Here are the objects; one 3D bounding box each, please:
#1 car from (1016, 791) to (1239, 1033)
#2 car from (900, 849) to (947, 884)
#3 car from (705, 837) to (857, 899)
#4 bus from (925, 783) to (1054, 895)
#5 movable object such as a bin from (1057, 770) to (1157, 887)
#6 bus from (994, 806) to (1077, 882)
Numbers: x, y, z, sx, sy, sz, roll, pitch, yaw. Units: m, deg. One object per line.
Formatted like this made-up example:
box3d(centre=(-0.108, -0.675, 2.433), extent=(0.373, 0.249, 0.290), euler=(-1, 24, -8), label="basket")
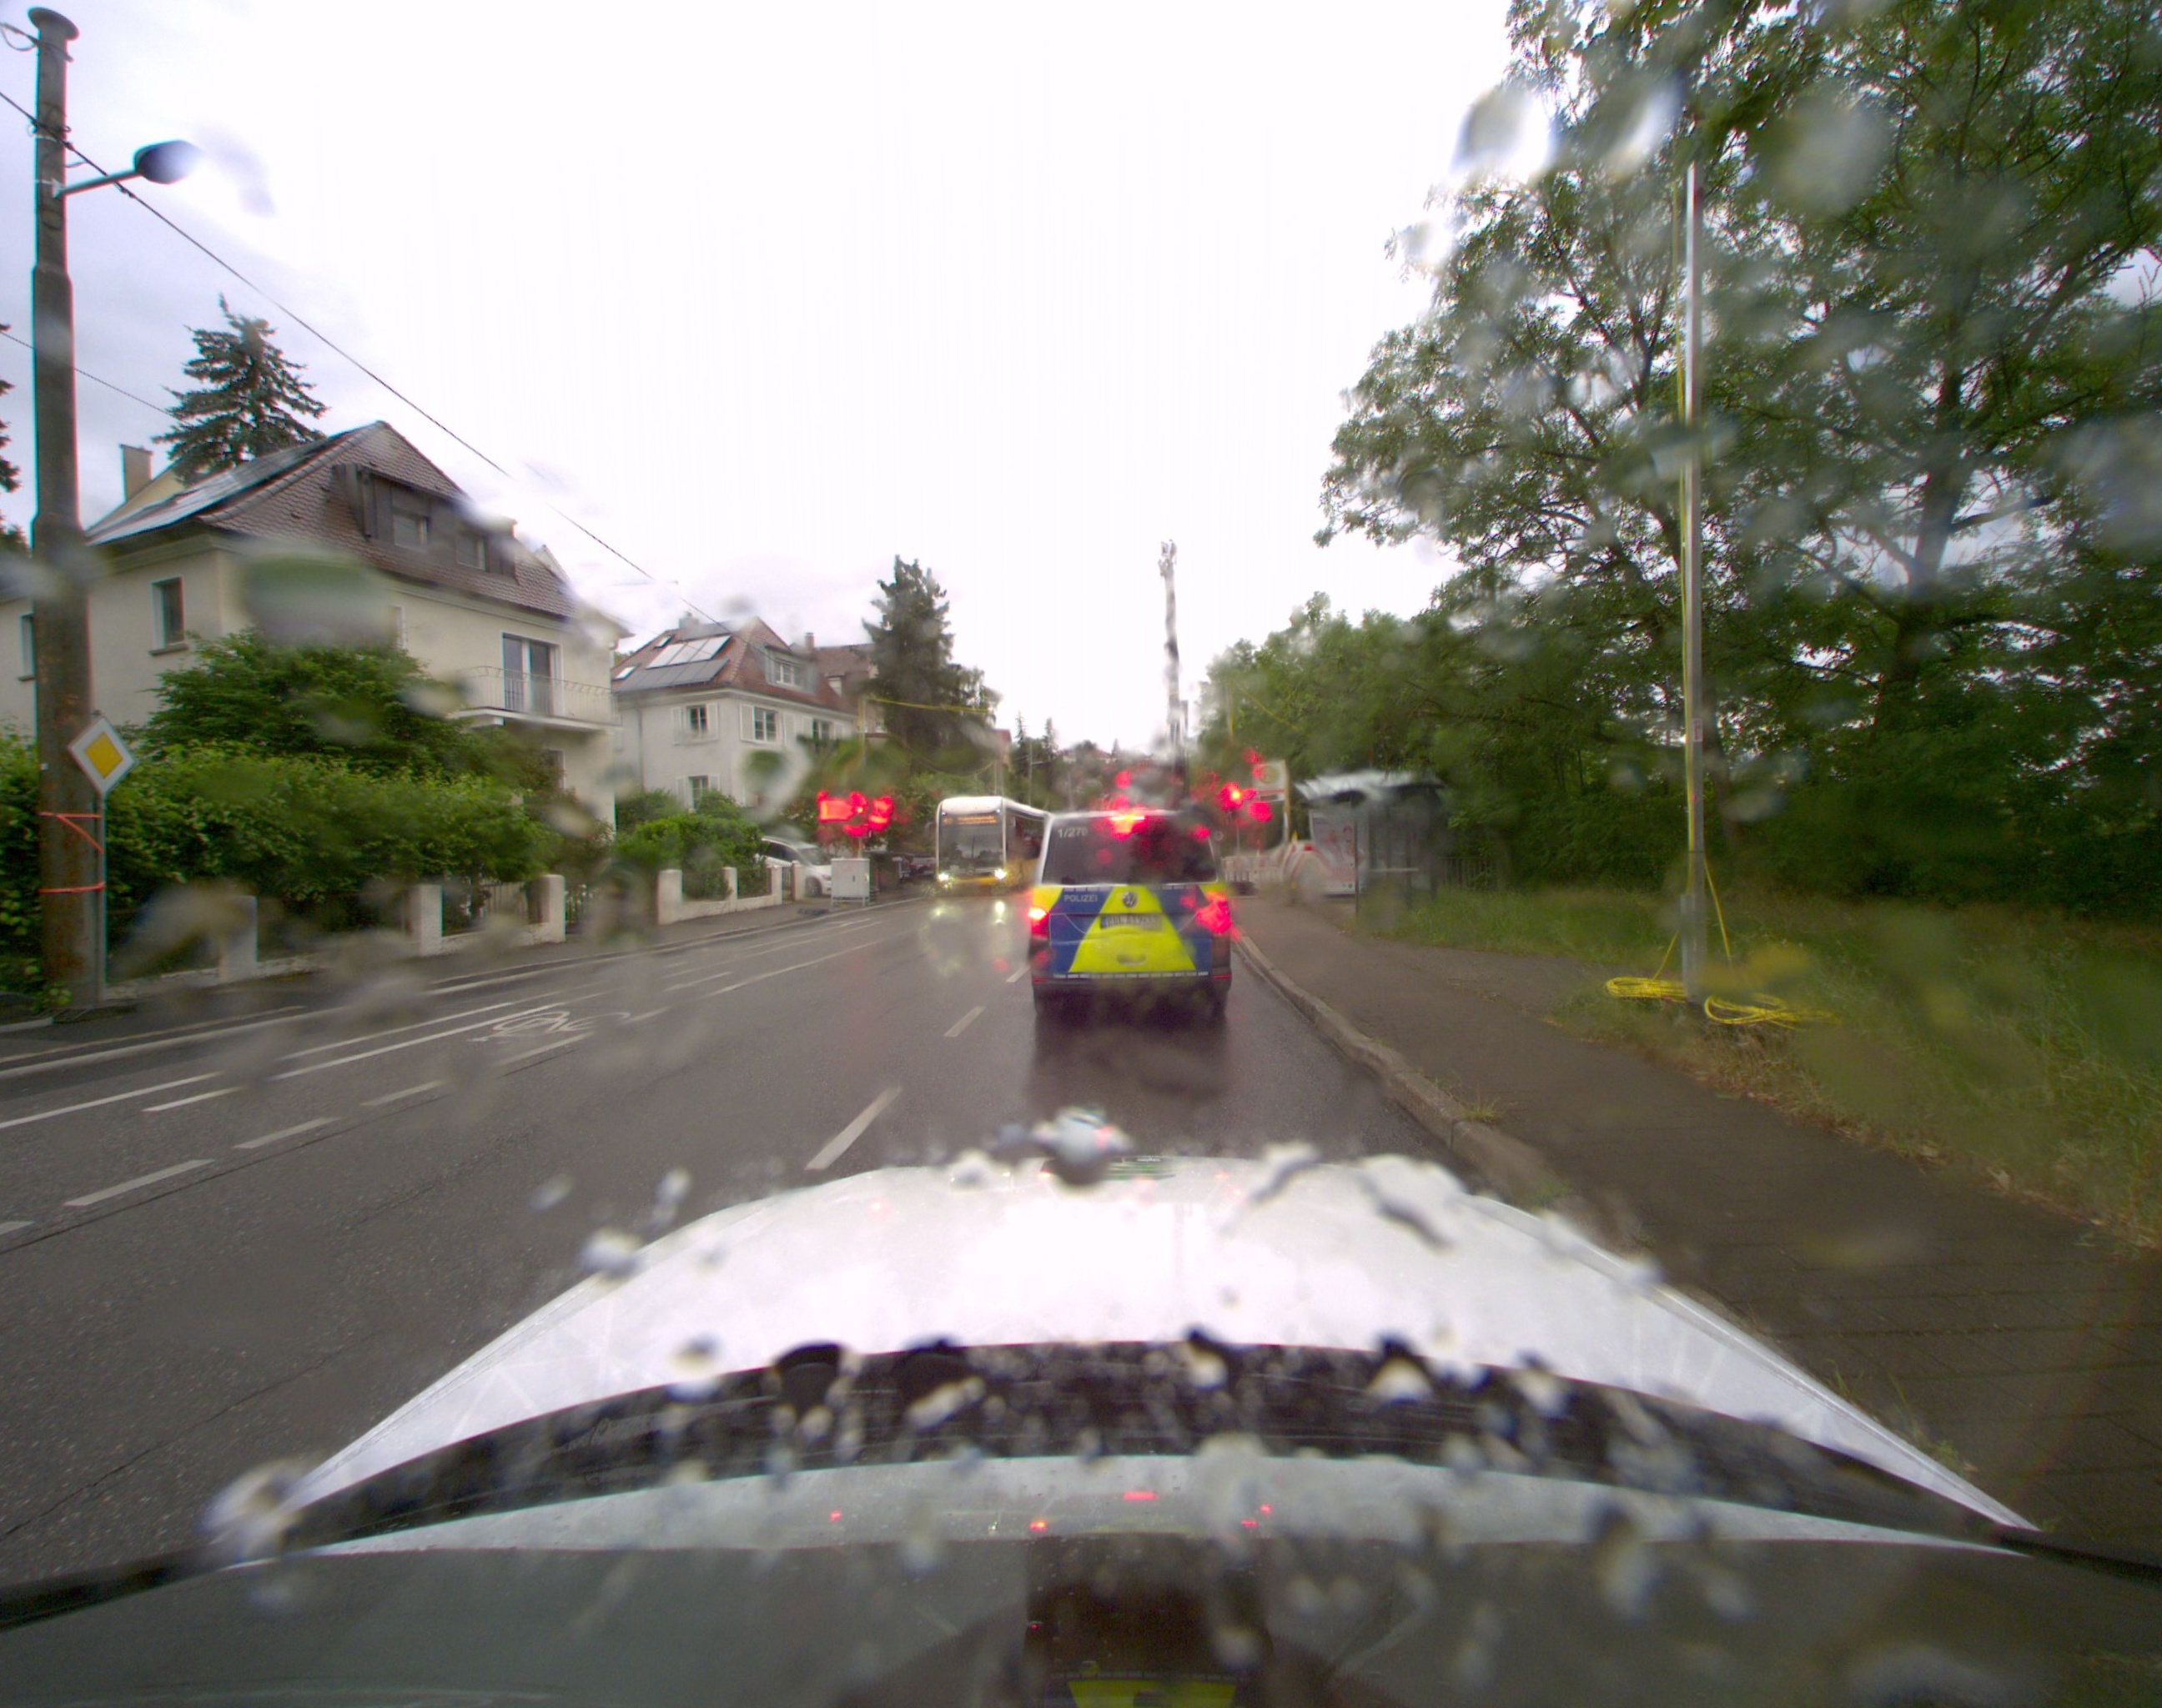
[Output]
box3d(centre=(0.456, 0.488, 8.934), extent=(1.886, 2.050, 4.002), euler=(0, 0, 2), label="car")
box3d(centre=(-7.459, 0.562, 38.292), extent=(1.770, 1.486, 3.720), euler=(0, 1, -17), label="car")
box3d(centre=(-10.285, 0.462, 28.049), extent=(4.599, 2.007, 1.907), euler=(0, 0, 13), label="car")
box3d(centre=(-3.266, -0.509, 33.133), extent=(2.827, 3.718, 12.022), euler=(0, 0, 5), label="bus")
box3d(centre=(1.102, -0.922, 31.764), extent=(2.809, 4.177, 4.400), euler=(0, 0, 17), label="movable object such as a bin")
box3d(centre=(-2.202, -0.480, 45.043), extent=(2.827, 3.625, 12.022), euler=(0, 0, 5), label="bus")
